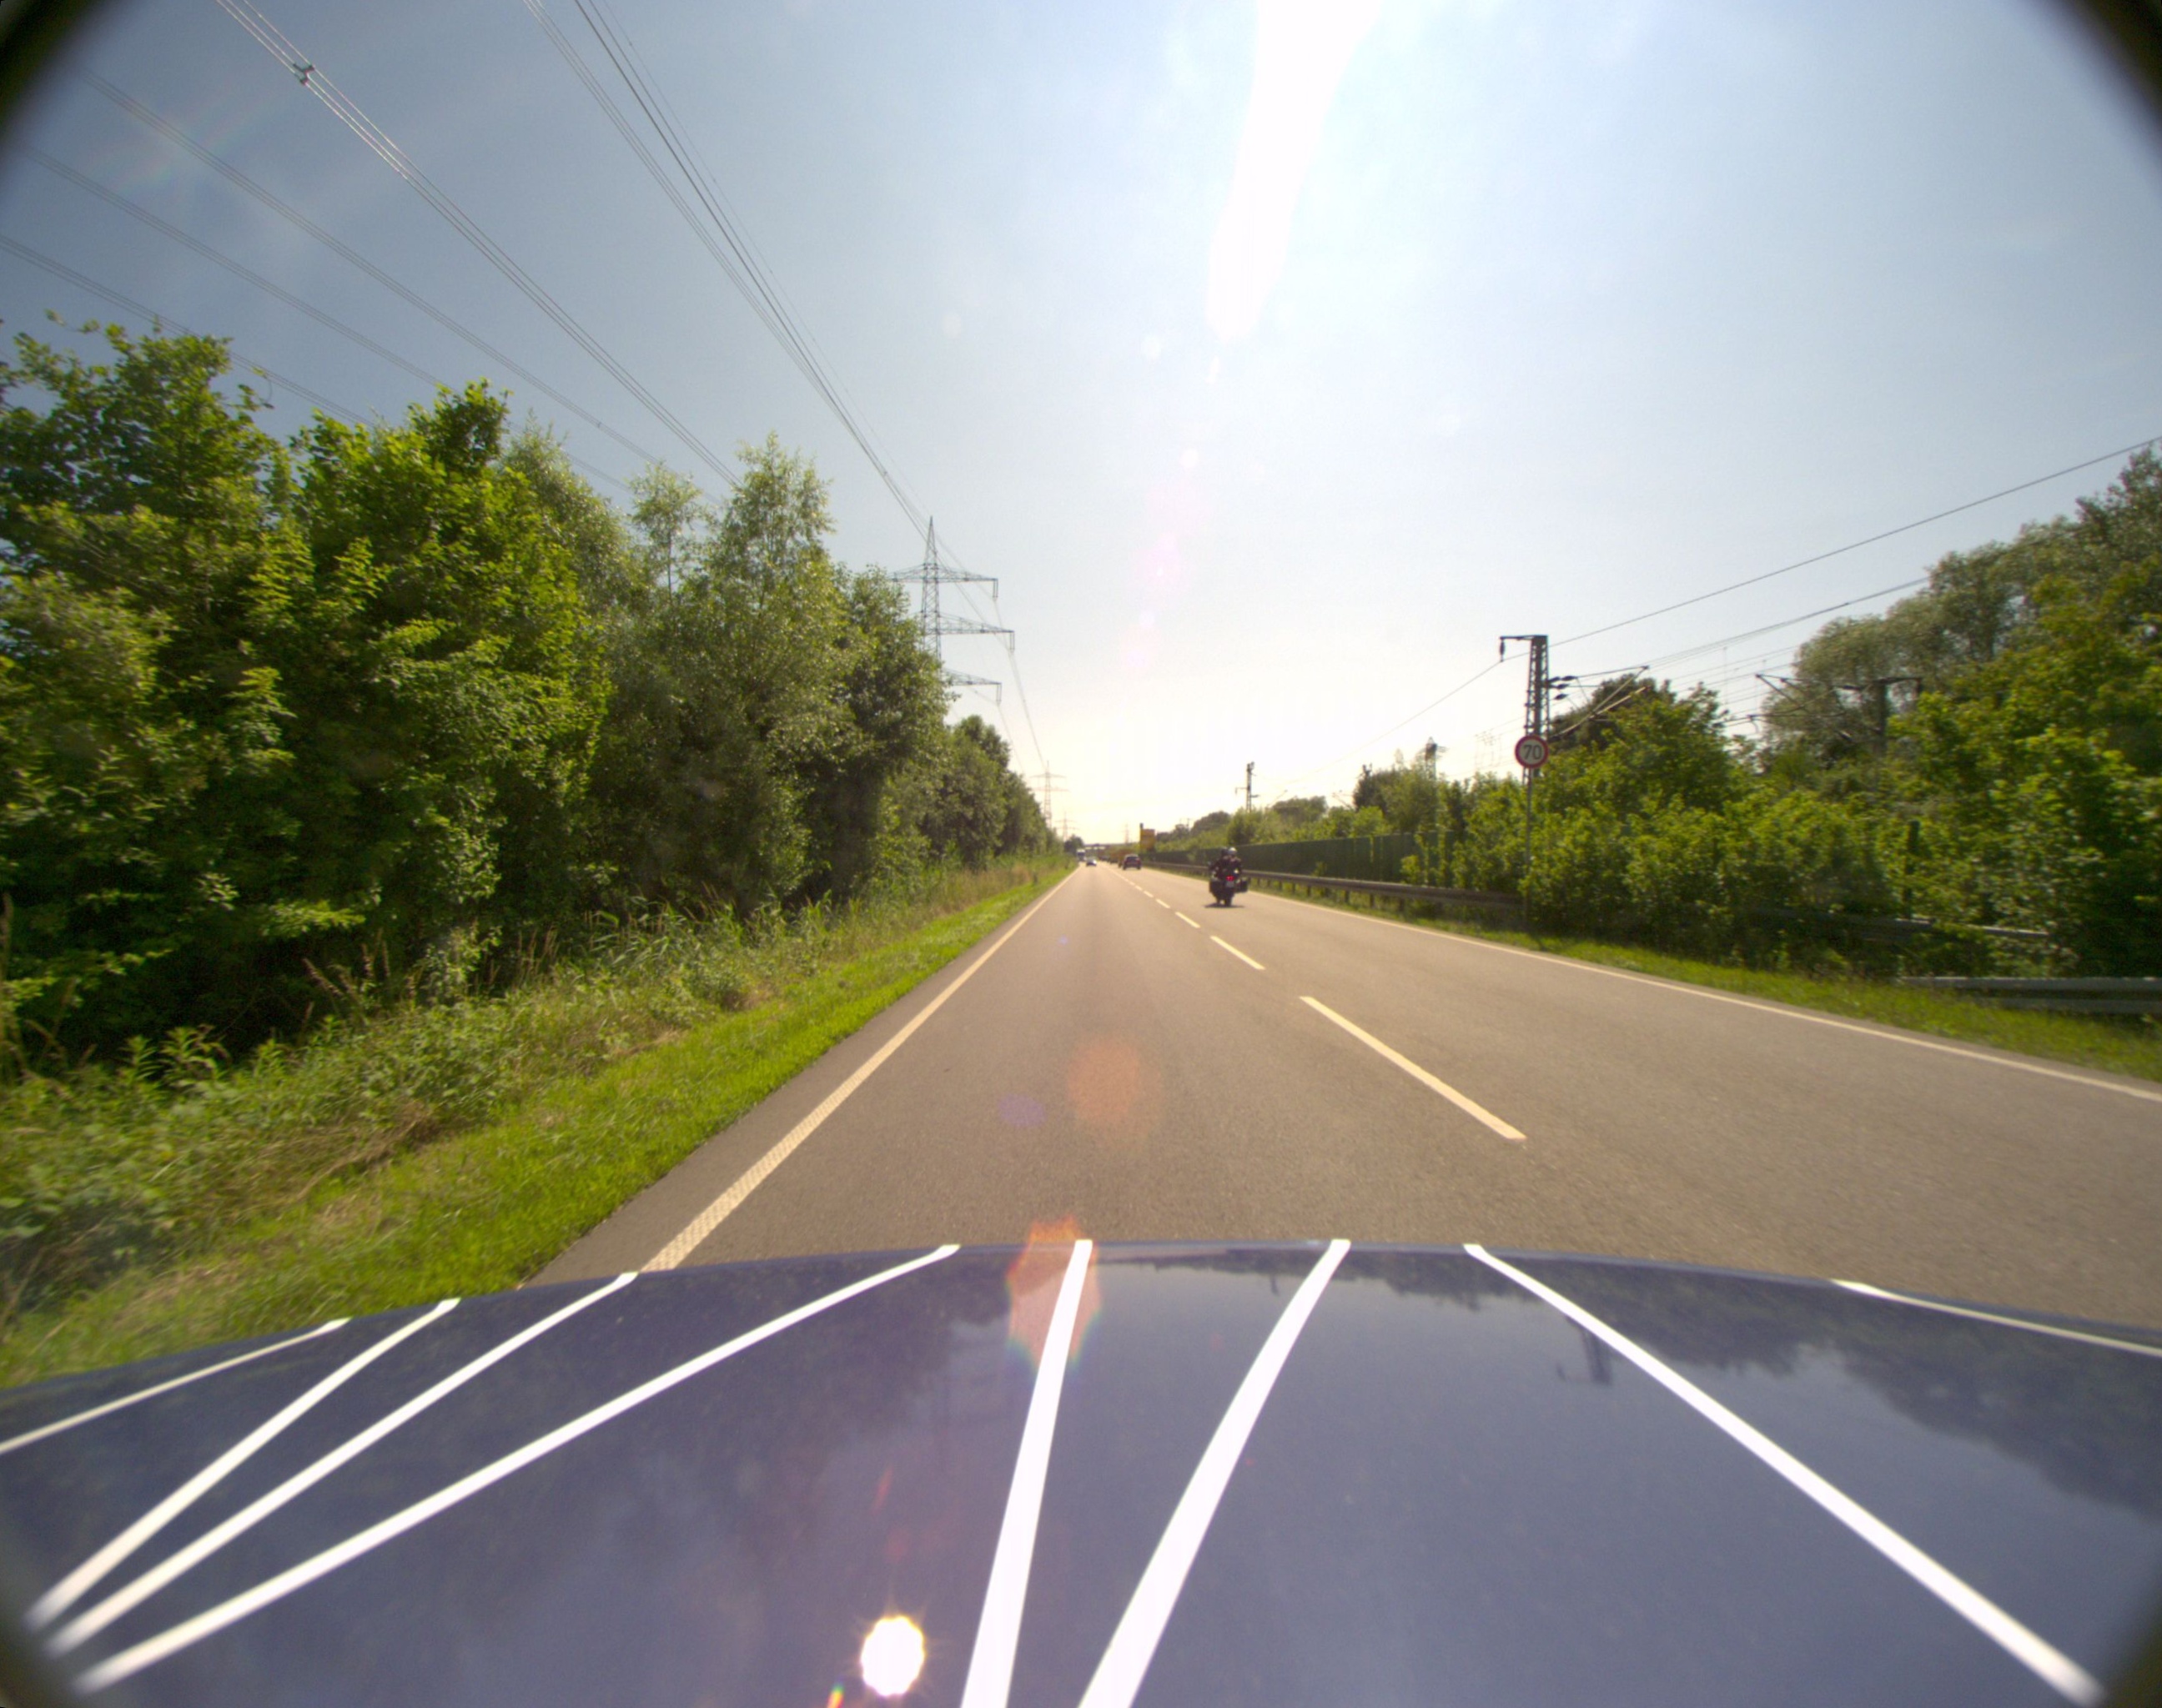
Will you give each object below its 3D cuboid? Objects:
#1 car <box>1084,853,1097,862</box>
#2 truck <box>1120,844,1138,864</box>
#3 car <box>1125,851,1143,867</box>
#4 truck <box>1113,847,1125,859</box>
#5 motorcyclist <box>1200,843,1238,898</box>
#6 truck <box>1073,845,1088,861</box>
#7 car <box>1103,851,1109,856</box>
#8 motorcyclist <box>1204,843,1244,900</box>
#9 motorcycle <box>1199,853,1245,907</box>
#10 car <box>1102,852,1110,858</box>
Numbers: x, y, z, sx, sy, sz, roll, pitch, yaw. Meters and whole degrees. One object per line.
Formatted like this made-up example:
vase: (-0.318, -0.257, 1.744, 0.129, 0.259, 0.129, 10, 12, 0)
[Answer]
car: (1.518, 0.548, 122.330, 1.998, 1.346, 4.157, -2, 1, 0)
truck: (6.600, -0.025, 104.407, 2.085, 2.631, 5.704, -1, 0, 0)
car: (5.952, 0.555, 85.634, 1.819, 1.684, 4.706, -1, 0, 1)
truck: (7.240, -0.203, 144.165, 1.998, 2.334, 6.012, -2, 0, 1)
motorcyclist: (4.242, 0.495, 23.383, 0.961, 1.600, 1.003, -2, 1, 2)
truck: (-0.134, -0.400, 236.388, 4.219, 4.608, 21.303, -2, 0, 0)
car: (7.497, -0.070, 225.738, 1.677, 1.506, 4.289, -2, 0, 0)
motorcyclist: (4.201, 0.501, 22.375, 0.961, 1.600, 1.003, -2, 1, 2)
motorcycle: (4.238, 0.749, 23.028, 0.970, 1.487, 2.630, -2, 1, 2)
car: (6.119, 0.248, 183.653, 1.806, 1.578, 4.371, -2, 0, 1)
